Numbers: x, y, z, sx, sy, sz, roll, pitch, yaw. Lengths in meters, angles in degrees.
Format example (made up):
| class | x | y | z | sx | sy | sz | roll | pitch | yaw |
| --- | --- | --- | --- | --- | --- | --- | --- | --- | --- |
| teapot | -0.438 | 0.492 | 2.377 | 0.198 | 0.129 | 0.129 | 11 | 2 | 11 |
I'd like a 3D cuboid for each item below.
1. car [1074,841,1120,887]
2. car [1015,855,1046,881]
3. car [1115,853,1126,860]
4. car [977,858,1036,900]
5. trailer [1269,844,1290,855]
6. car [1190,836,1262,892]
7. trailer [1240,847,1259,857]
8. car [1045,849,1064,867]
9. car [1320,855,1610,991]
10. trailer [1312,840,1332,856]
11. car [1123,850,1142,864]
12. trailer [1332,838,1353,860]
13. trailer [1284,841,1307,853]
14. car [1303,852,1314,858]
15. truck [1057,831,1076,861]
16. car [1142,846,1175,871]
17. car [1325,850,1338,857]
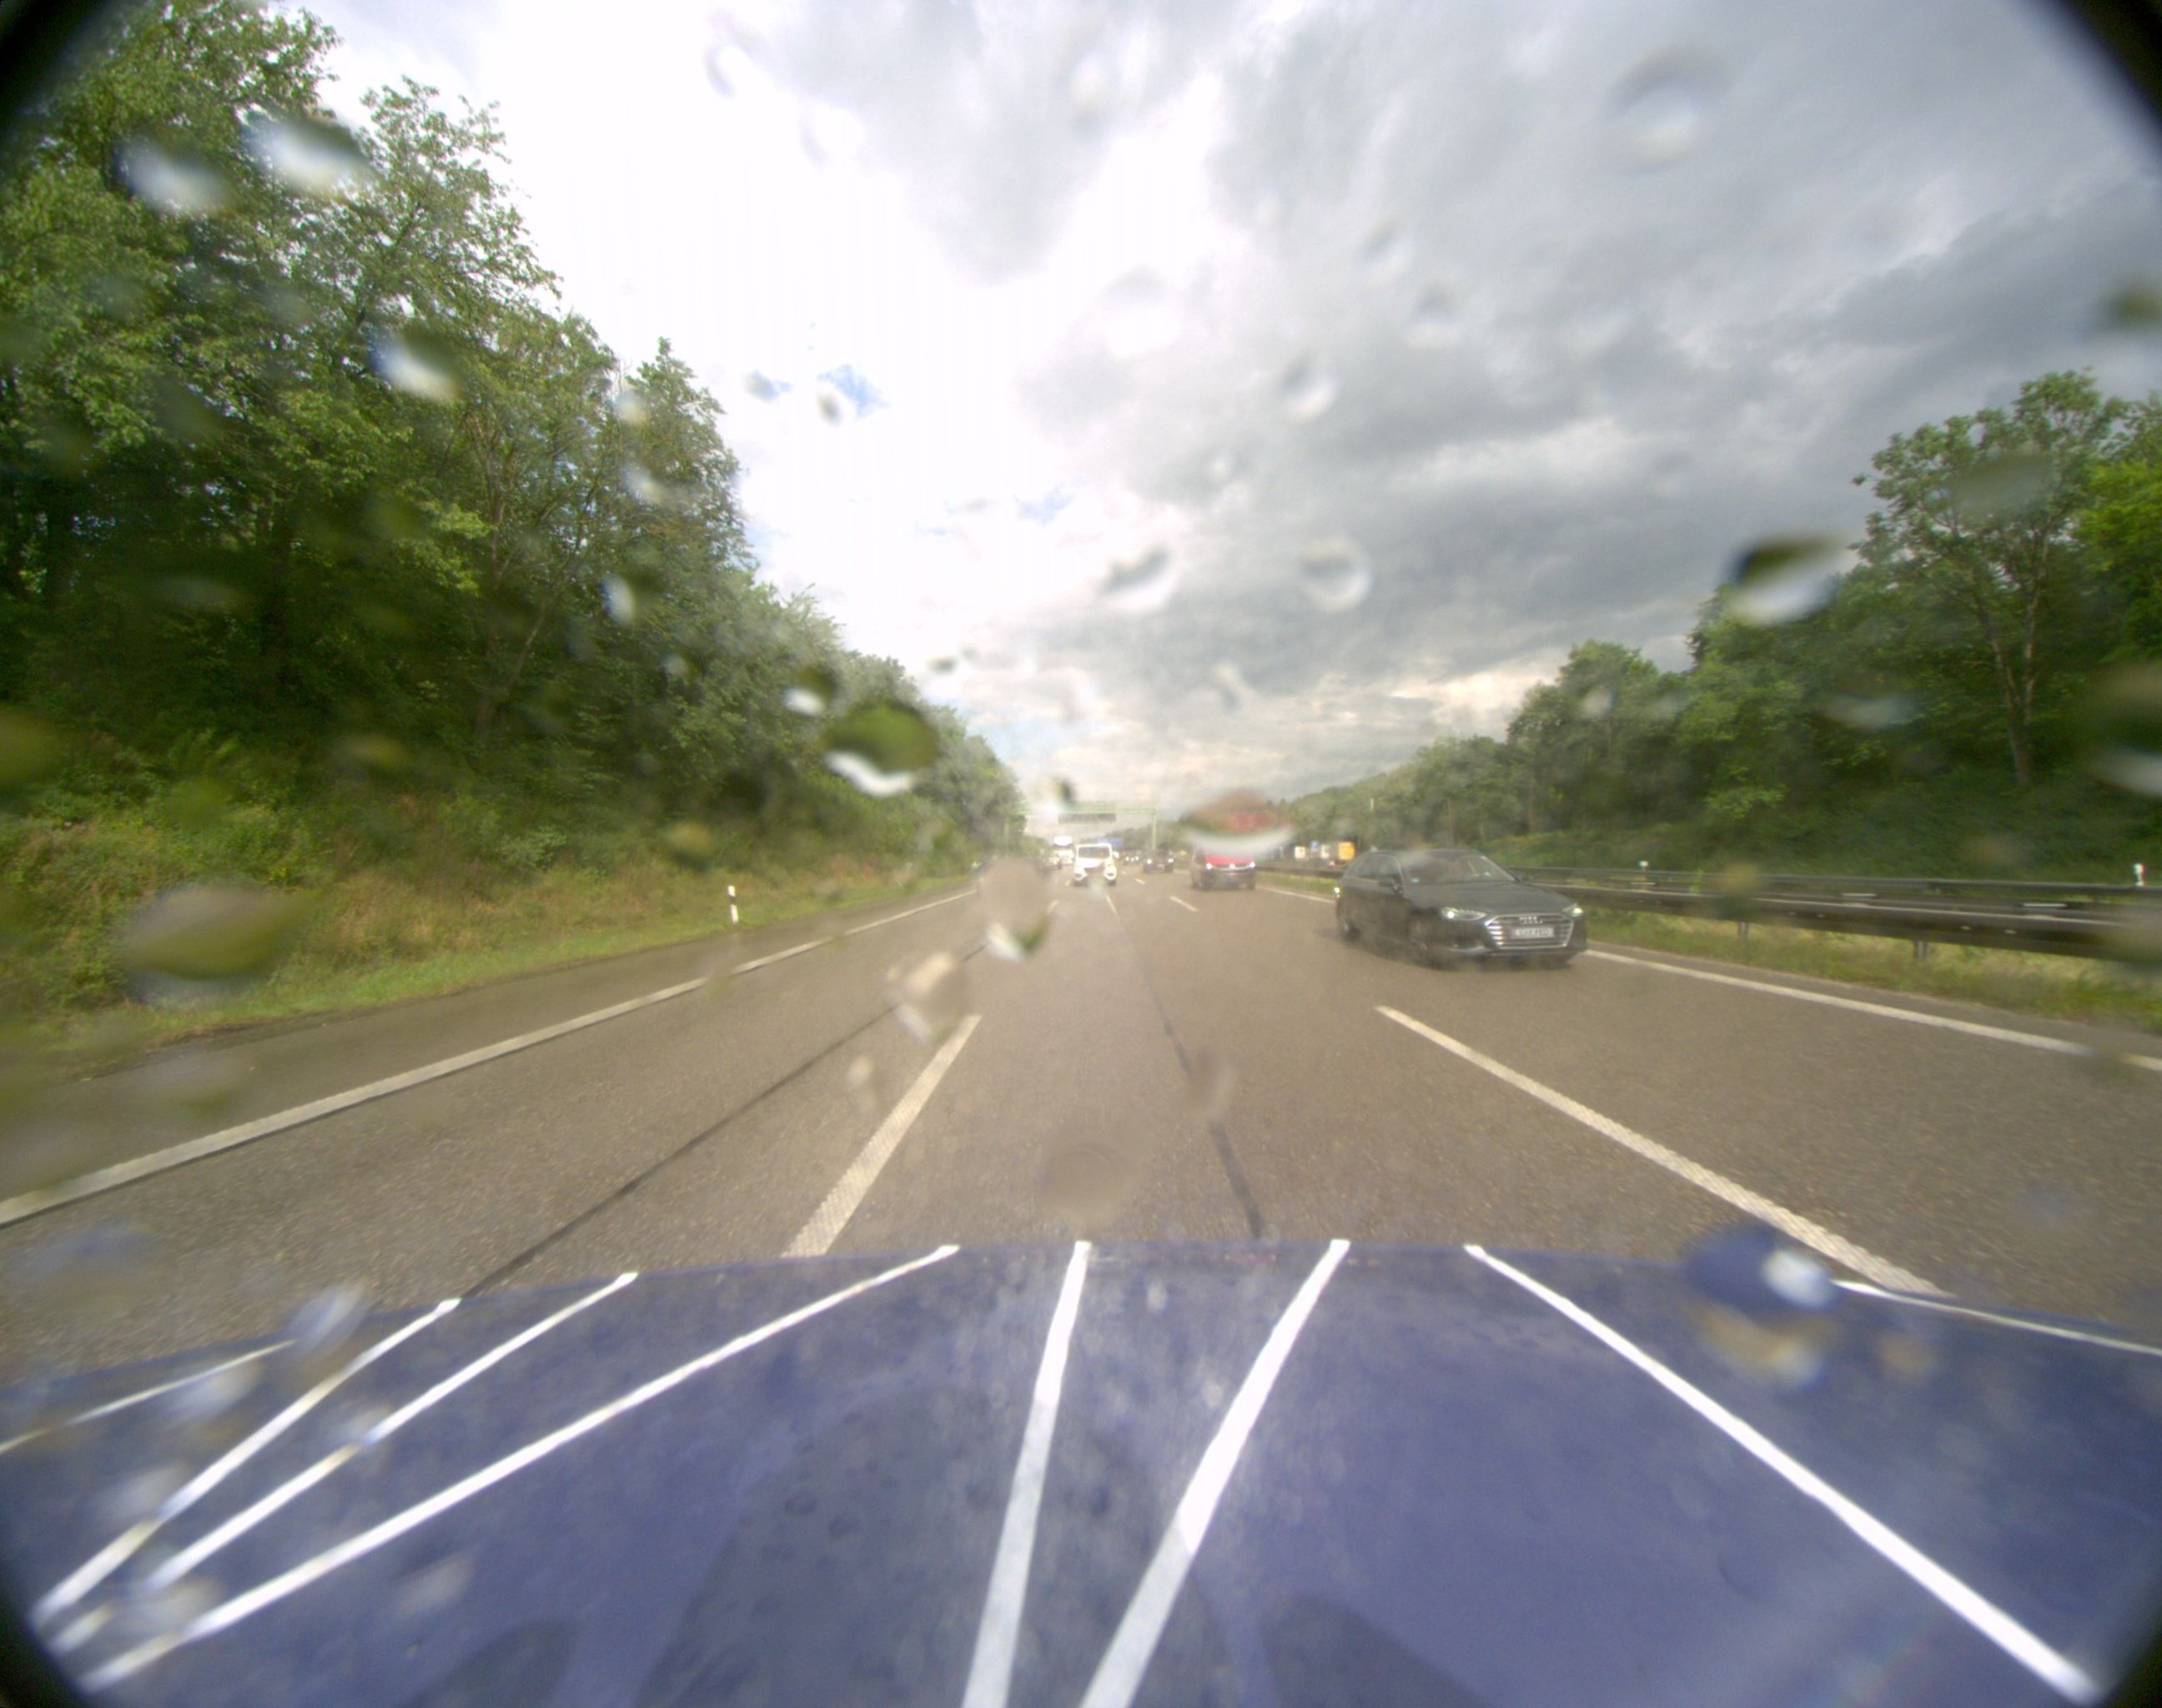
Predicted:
| class | x | y | z | sx | sy | sz | roll | pitch | yaw |
| --- | --- | --- | --- | --- | --- | --- | --- | --- | --- |
| car | 0.695 | 0.444 | 35.992 | 1.985 | 1.973 | 5.168 | -2 | 0 | 0 |
| car | -3.029 | 0.826 | 46.425 | 1.655 | 1.448 | 3.744 | -1 | 0 | -1 |
| car | 7.028 | 0.399 | 136.572 | 1.675 | 1.228 | 3.999 | -2 | 0 | 0 |
| car | -2.727 | 0.876 | 28.609 | 1.759 | 1.388 | 4.368 | -2 | 0 | 0 |
| trailer | 57.268 | -1.275 | 219.715 | 2.611 | 3.252 | 12.646 | 0 | 0 | 0 |
| car | 5.491 | 0.366 | 29.369 | 1.895 | 1.973 | 4.750 | 0 | 0 | 0 |
| trailer | 56.279 | -0.843 | 254.351 | 3.193 | 3.252 | 12.644 | 0 | 0 | -2 |
| car | -2.713 | 0.412 | 78.716 | 1.831 | 1.793 | 5.305 | -1 | 0 | 0 |
| car | 4.886 | 0.755 | 10.502 | 1.723 | 1.403 | 4.467 | -2 | 0 | 0 |
| trailer | 53.240 | -1.292 | 167.864 | 2.187 | 3.579 | 11.725 | 0 | 0 | 8 |
| car | 6.081 | 0.310 | 89.605 | 1.895 | 1.557 | 4.053 | -1 | 0 | 0 |
| trailer | 47.754 | -1.009 | 138.833 | 1.997 | 3.673 | 13.669 | -2 | 1 | 13 |
| trailer | 56.667 | -1.830 | 201.122 | 3.027 | 3.174 | 12.175 | 0 | 0 | 2 |
| car | 55.586 | 0.181 | 185.712 | 1.899 | 1.494 | 4.001 | 0 | 0 | 4 |
| truck | -2.068 | -1.157 | 107.555 | 2.460 | 4.080 | 5.332 | -2 | 0 | 0 |
| car | 5.535 | 0.312 | 54.761 | 1.895 | 1.660 | 4.294 | -1 | 0 | 0 |
| car | 51.590 | -0.147 | 156.573 | 1.898 | 1.494 | 4.002 | 0 | 0 | 8 |
